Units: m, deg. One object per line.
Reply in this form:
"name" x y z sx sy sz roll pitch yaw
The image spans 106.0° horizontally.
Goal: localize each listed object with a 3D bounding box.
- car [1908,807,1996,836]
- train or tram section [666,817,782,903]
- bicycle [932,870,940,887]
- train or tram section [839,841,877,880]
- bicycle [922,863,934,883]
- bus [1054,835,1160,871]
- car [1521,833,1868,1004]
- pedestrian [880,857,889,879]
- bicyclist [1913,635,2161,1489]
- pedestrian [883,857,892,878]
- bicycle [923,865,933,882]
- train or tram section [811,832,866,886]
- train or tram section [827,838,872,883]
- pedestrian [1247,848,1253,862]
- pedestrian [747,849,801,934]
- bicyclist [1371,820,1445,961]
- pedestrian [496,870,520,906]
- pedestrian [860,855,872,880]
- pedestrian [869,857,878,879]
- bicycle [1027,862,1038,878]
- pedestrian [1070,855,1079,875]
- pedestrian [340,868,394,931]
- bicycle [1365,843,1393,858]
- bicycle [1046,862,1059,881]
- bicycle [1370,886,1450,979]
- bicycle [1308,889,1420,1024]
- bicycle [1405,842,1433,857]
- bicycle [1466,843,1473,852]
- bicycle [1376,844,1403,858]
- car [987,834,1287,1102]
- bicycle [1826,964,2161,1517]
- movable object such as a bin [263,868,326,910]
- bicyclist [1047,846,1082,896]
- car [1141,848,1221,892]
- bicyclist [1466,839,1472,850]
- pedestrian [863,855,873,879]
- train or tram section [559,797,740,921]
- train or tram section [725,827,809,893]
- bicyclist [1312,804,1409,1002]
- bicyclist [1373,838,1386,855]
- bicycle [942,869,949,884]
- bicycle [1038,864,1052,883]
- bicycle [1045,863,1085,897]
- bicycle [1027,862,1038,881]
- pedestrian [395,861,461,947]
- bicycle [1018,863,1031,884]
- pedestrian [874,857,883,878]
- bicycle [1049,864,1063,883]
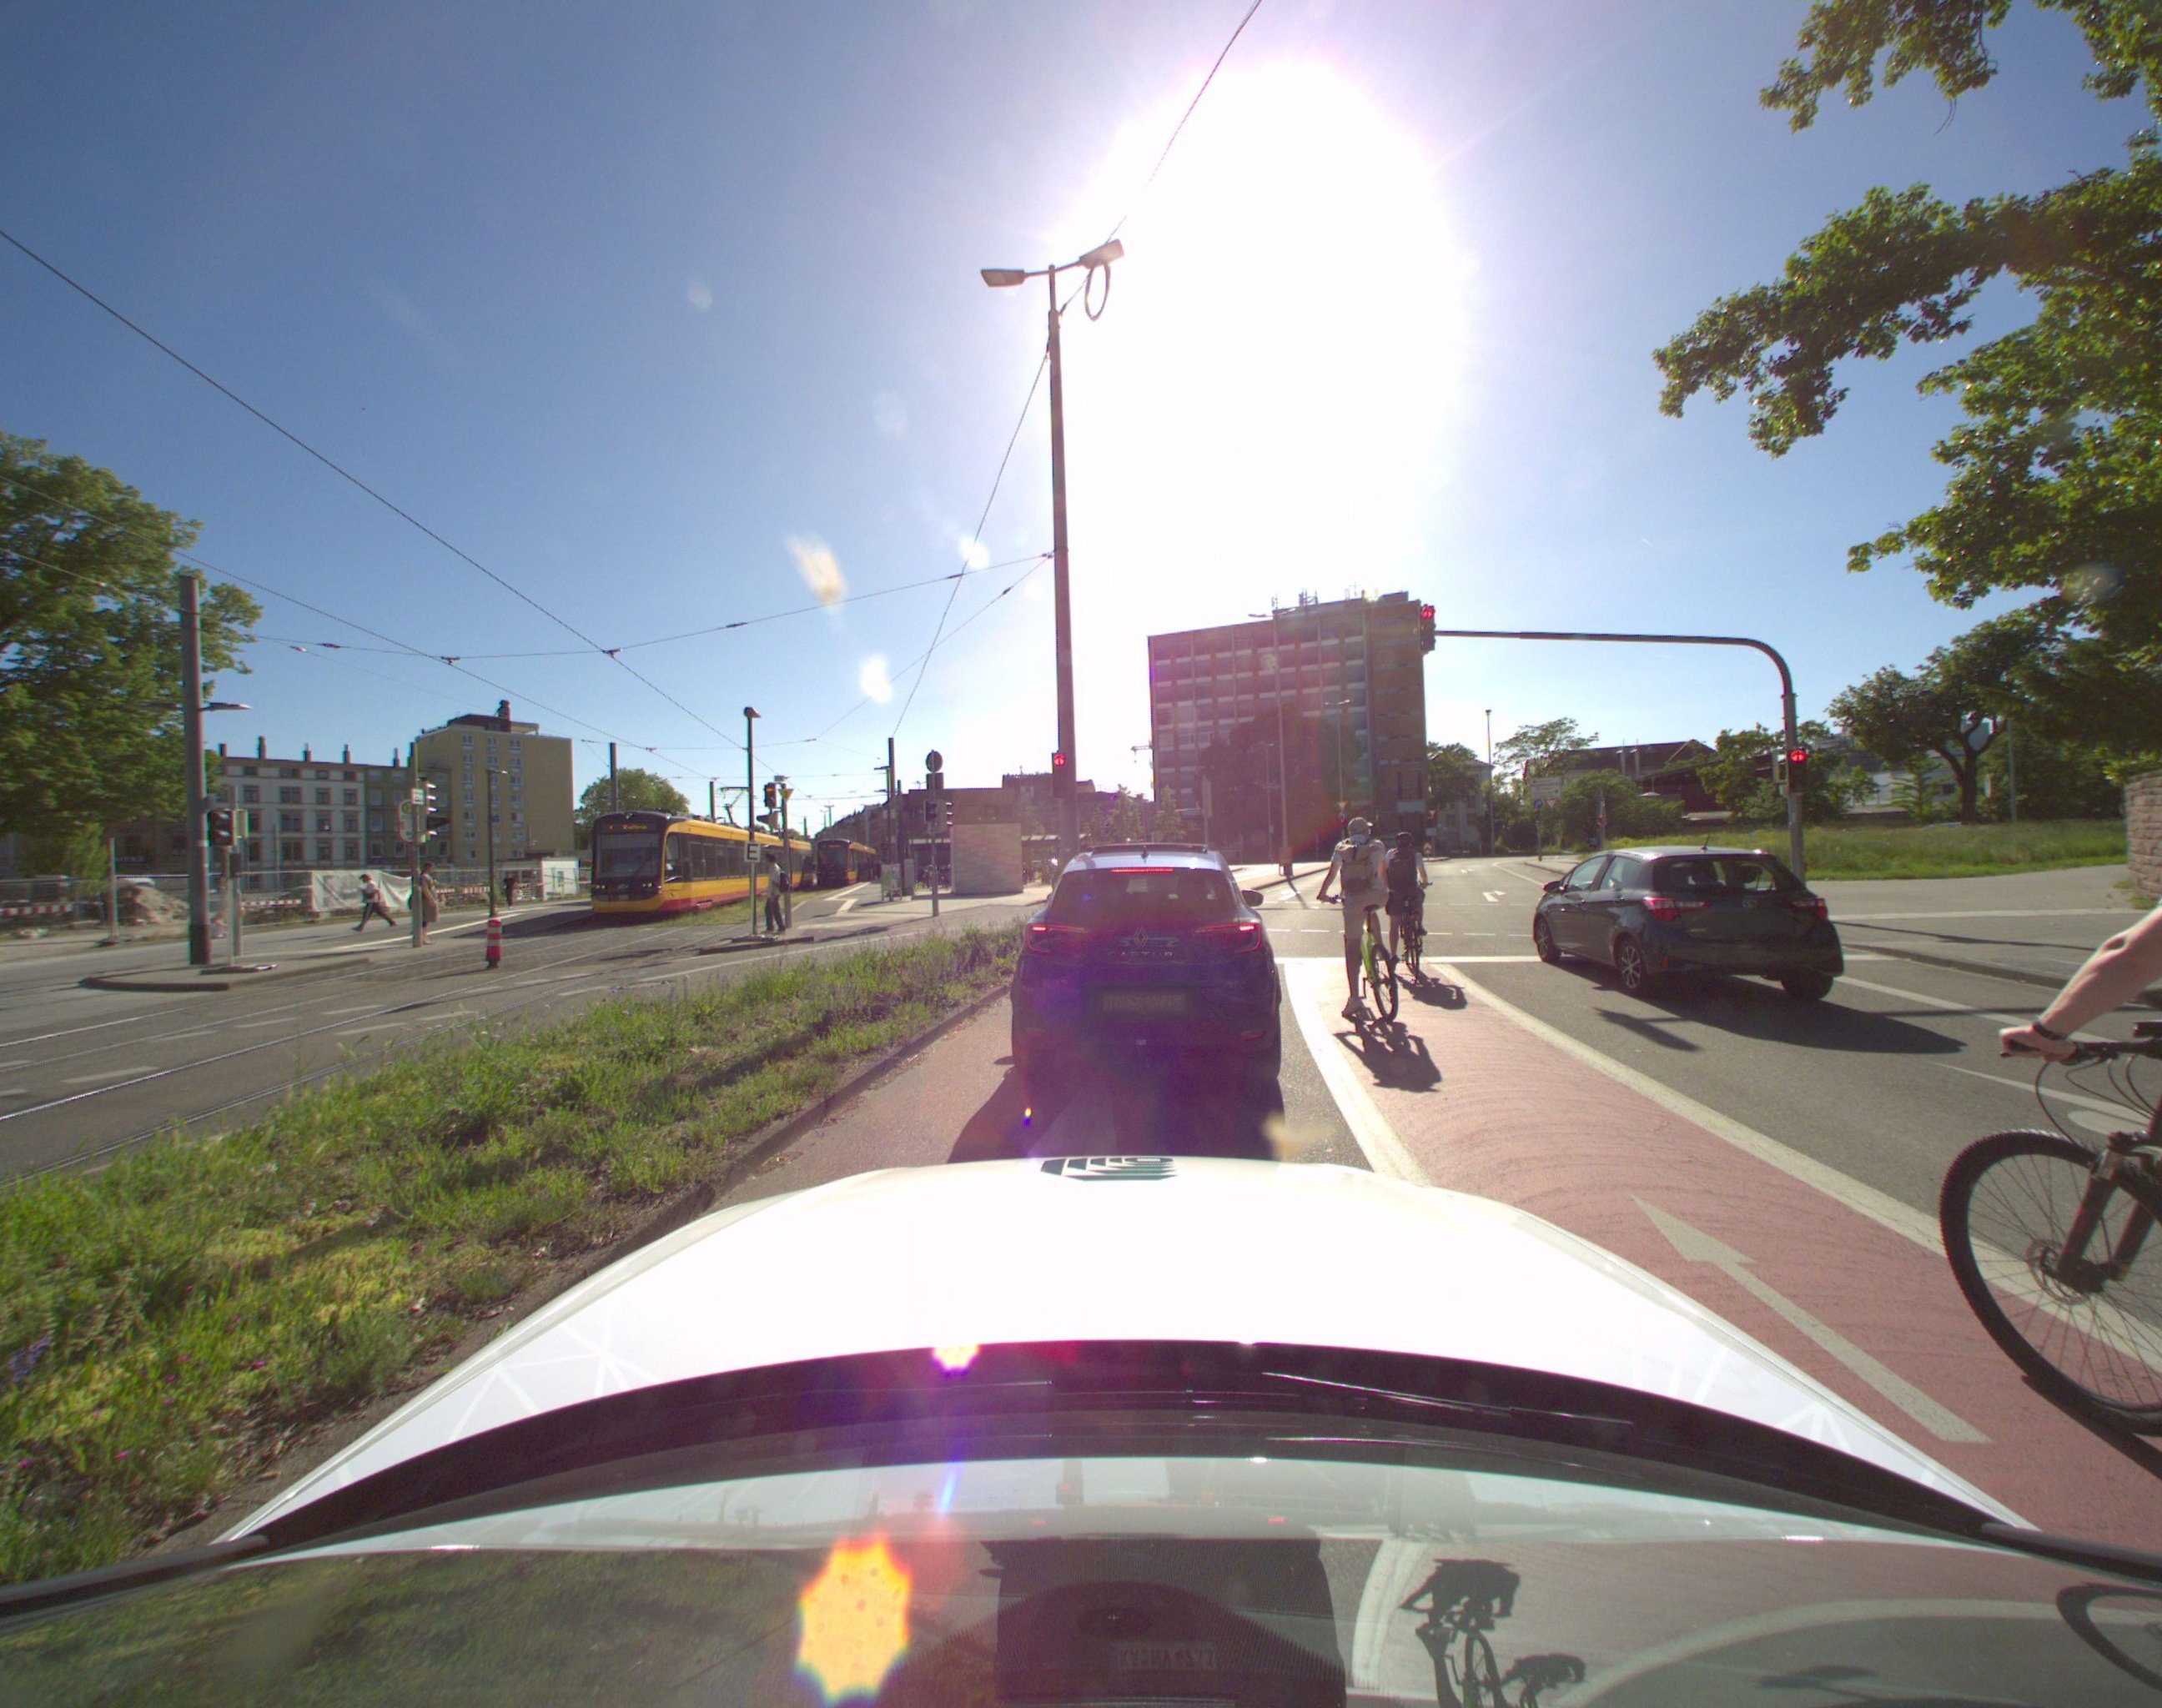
"car" 67.596 -2.496 63.302 4.305 2.014 2.013 -2 -2 34
"train or tram section" -16.817 0.291 39.205 2.818 3.508 10.569 -1 0 -11
"bicycle" -8.537 1.431 47.967 0.422 0.938 1.300 0 -1 -13
"train or tram section" -21.860 0.657 80.194 2.873 3.508 10.499 -1 0 -12
"bicycle" -8.667 1.095 46.253 0.565 1.093 2.023 -1 -1 -9
"bus" 2.612 -0.012 86.956 12.287 3.396 2.900 -2 -2 42
"car" 6.567 0.595 9.275 1.744 1.541 3.671 -1 0 12
"pedestrian" -16.461 1.165 68.254 0.634 1.857 0.699 0 -2 -17
"bicyclist" 2.610 0.431 1.686 0.745 1.776 1.016 -1 -1 9
"pedestrian" -17.064 1.208 71.790 0.632 1.857 0.700 -1 -2 -9
"bicycle" -9.855 1.263 52.593 0.565 1.093 2.023 -1 -1 -9
"train or tram section" -17.604 0.396 59.712 2.873 3.508 10.499 -1 0 -12
"train or tram section" -19.755 0.538 69.953 2.873 3.508 10.499 -1 0 -12
"pedestrian" 21.347 0.135 102.631 0.555 1.670 0.479 -2 -2 39
"pedestrian" -6.826 0.818 18.161 1.017 1.832 0.757 -1 -2 -14
"bicyclist" 3.989 0.421 9.999 0.716 1.626 1.059 -1 0 16
"pedestrian" -28.511 1.676 40.512 0.668 1.767 0.796 -2 0 -13
"pedestrian" -16.014 1.013 60.712 0.848 1.883 0.757 -1 -2 -14
"pedestrian" -17.168 1.158 67.383 0.673 1.857 0.701 -1 -2 -7
"bicycle" -3.357 1.130 56.391 0.580 1.088 1.865 -1 -1 -9
"pedestrian" -0.616 1.064 79.303 0.721 1.857 0.705 -1 -2 10
"pedestrian" -21.212 1.330 24.208 0.975 1.767 0.857 -2 0 -26
"bicycle" 33.215 -0.392 90.668 2.775 1.541 0.889 -2 -2 27
"bicycle" -1.718 1.050 48.945 0.580 1.088 2.053 -1 -1 -7
"bicycle" 4.034 0.919 10.120 0.717 0.960 1.892 -1 0 16
"bicycle" 2.653 0.911 7.823 0.659 1.047 1.895 -2 0 9
"bicycle" 37.656 -0.468 90.747 2.775 1.541 0.889 -2 -2 27
"bicycle" 50.790 -0.885 106.504 0.603 1.093 1.682 -3 0 32
"bicycle" 35.286 -0.369 93.226 2.778 1.541 0.888 -1 -2 19
"car" 0.567 0.686 6.781 1.813 1.600 3.666 -1 0 8
"bicycle" 2.643 0.898 1.749 0.607 1.077 1.834 -1 0 9
"movable object such as a bin" -53.465 2.377 55.353 3.950 2.796 1.844 -2 -2 26
"bicyclist" -0.553 0.586 28.199 0.873 1.644 1.065 -3 -1 16
"car" 3.788 0.543 30.190 1.784 1.393 4.116 -2 1 24
"bicyclist" 50.720 -1.268 106.441 0.612 1.444 0.824 -2 0 32
"pedestrian" -17.209 1.073 65.828 0.740 1.918 0.739 -1 -2 -14
"train or tram section" -14.692 0.169 28.861 2.820 3.508 10.433 -2 0 -12
"train or tram section" -18.926 0.370 49.845 2.818 3.508 11.166 -1 0 -11
"bicyclist" 2.615 0.437 7.720 0.660 1.747 1.008 -2 0 9
"bicyclist" 33.211 -0.834 90.664 1.195 1.897 0.889 -2 -2 27
"bicycle" -8.813 1.476 52.999 0.421 0.938 1.374 0 -1 -9
"bicycle" -1.939 1.034 43.215 0.580 0.961 2.053 -1 -1 -7
"bicycle" -0.524 0.879 28.189 0.767 1.080 2.044 -3 -1 16
"bicycle" -2.925 1.070 48.902 0.580 1.088 2.053 -1 -1 -7
"pedestrian" -14.945 1.118 18.668 0.902 1.850 0.759 -2 2 -20
"bicycle" -2.967 1.044 42.864 0.580 1.058 1.812 -1 -1 -7
"pedestrian" -17.956 1.234 72.207 0.631 1.857 0.701 -1 -2 -7
"bicycle" -1.325 1.025 43.288 0.580 0.961 2.053 -1 -1 -7
